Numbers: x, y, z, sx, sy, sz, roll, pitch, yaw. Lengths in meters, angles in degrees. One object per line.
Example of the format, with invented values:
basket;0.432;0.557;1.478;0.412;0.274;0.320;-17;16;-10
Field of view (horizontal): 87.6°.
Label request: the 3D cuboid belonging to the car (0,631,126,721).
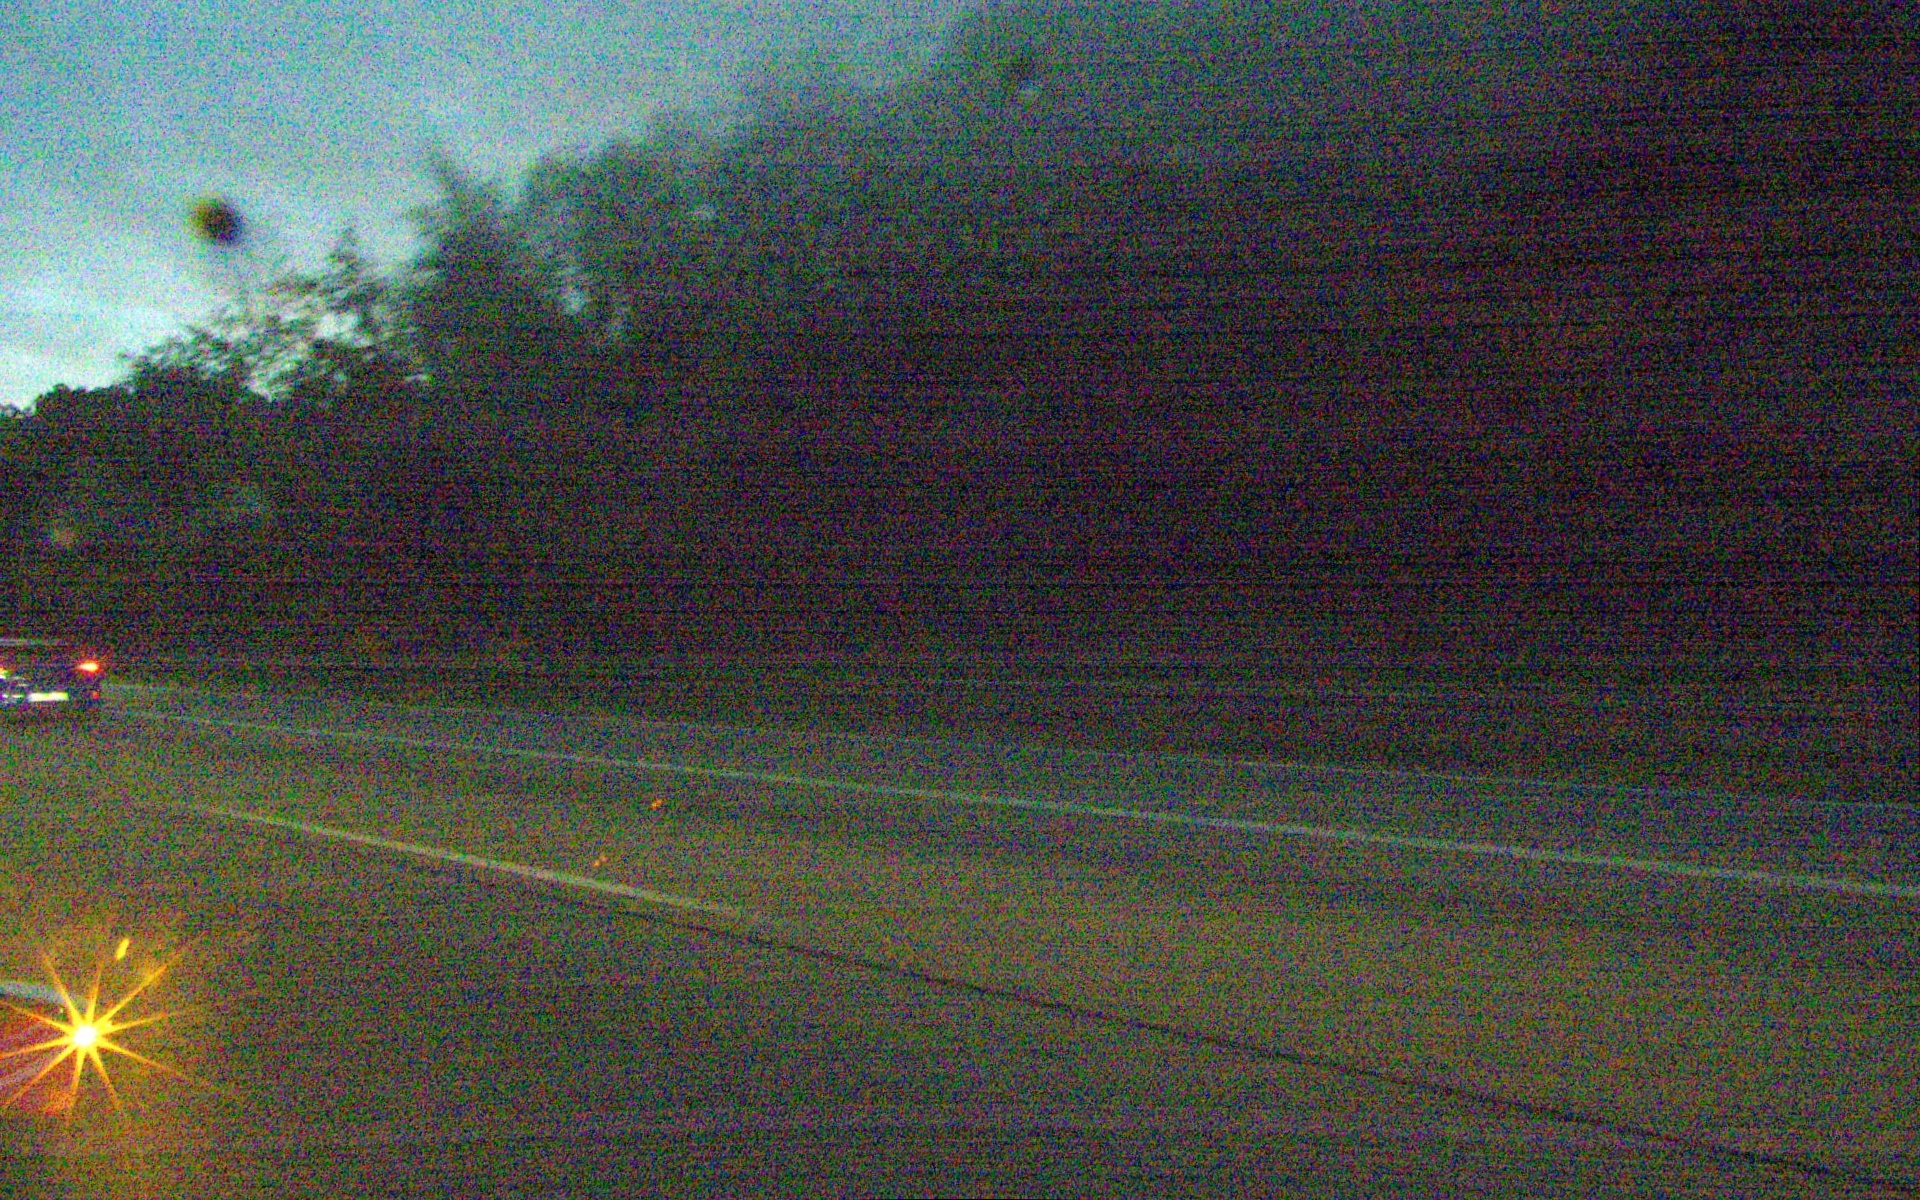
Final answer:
car;-16.997;1.283;17.954;4.519;1.454;1.862;-1;-2;33
